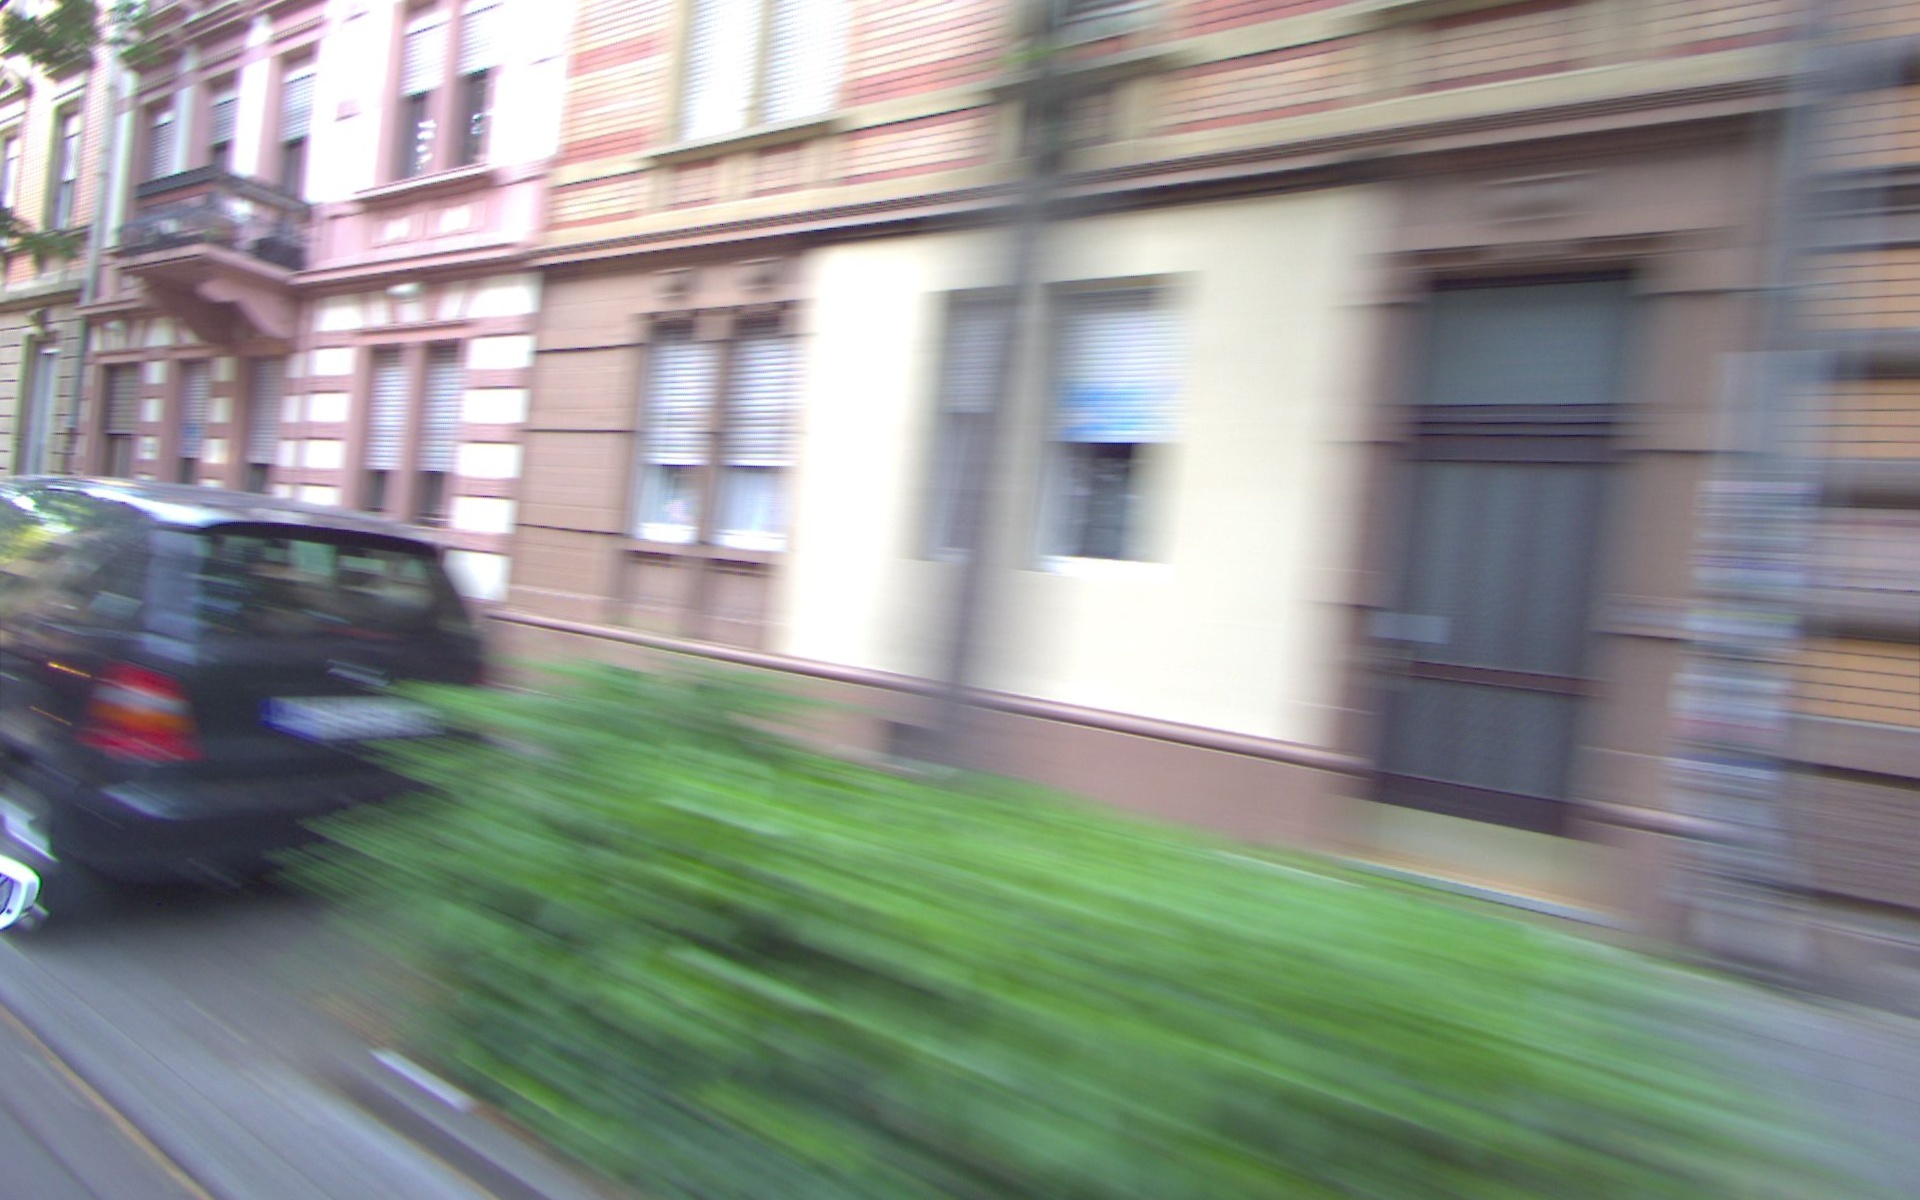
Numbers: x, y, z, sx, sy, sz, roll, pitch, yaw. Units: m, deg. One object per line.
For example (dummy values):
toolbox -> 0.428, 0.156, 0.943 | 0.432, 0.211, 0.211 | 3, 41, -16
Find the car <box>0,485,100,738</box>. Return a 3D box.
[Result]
car -> -7.411, -0.120, 6.722 | 3.553, 1.514, 1.552 | 6, -1, 34

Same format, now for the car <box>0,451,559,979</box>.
car -> -3.835, 0.230, 4.649 | 3.702, 1.578, 1.614 | 7, 0, 30
